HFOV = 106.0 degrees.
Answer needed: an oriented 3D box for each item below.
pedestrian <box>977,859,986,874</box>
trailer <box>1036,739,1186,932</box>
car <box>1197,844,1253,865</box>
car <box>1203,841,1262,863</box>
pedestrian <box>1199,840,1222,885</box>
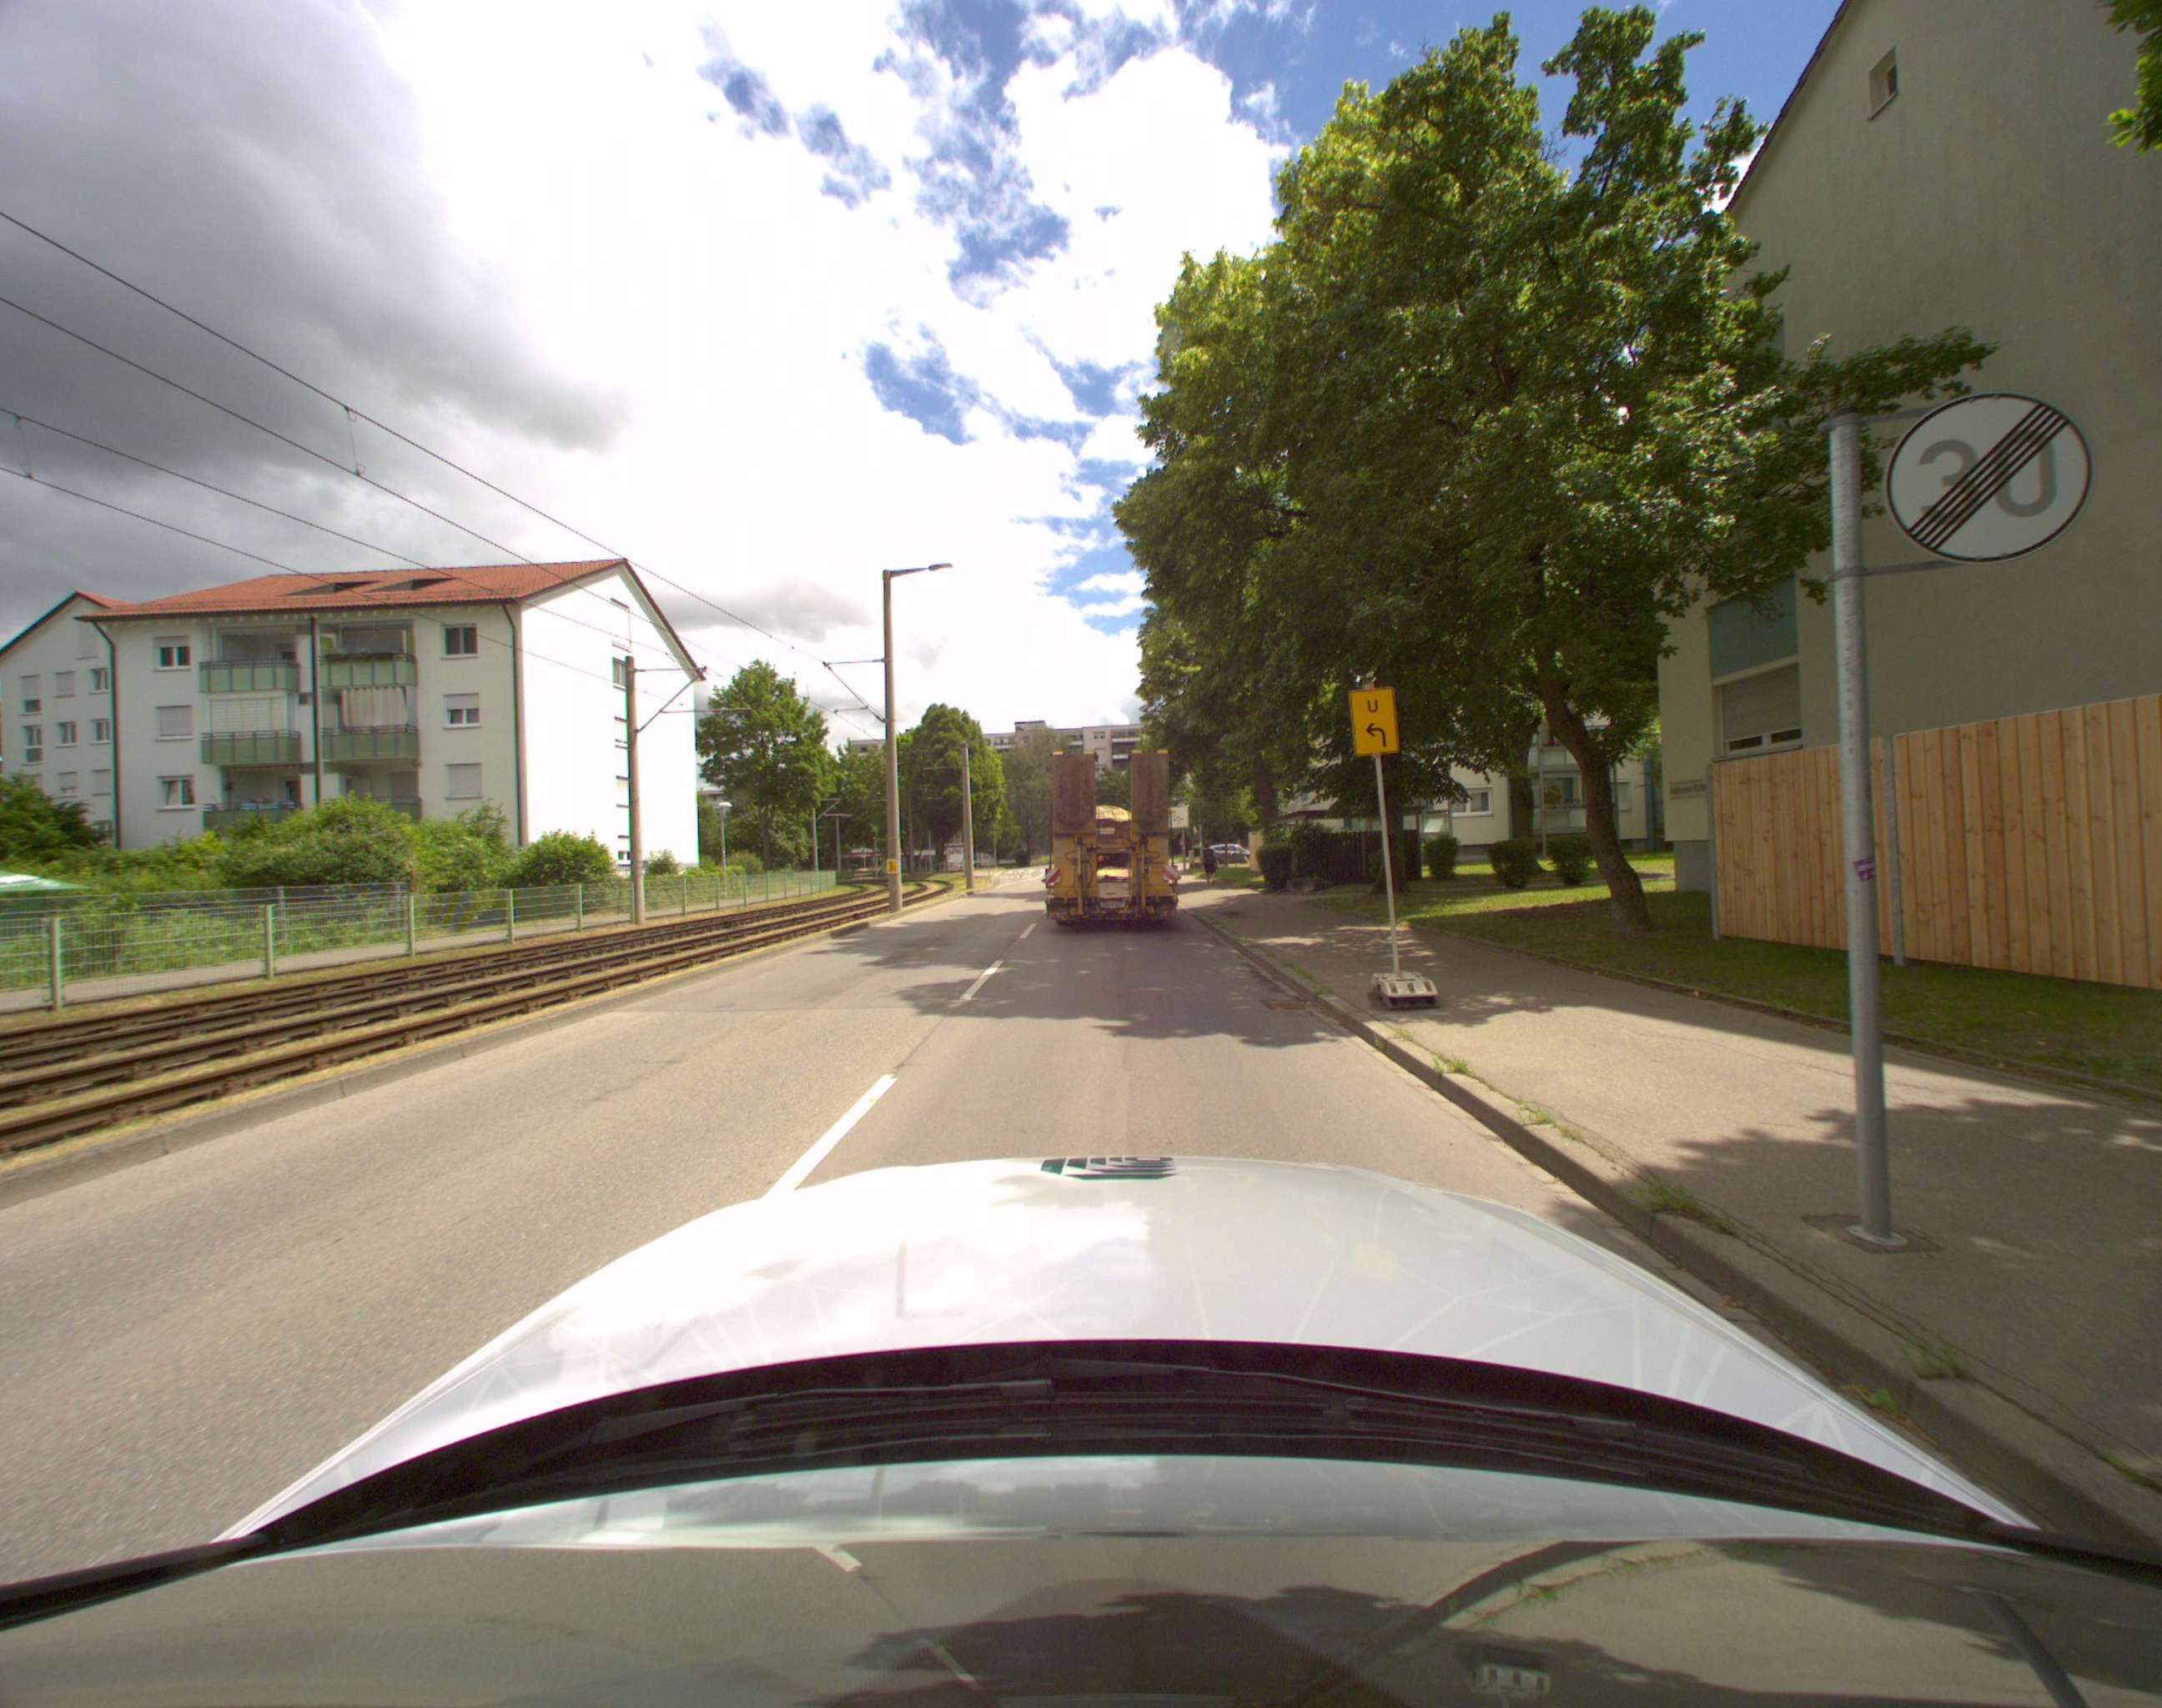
[{"bbox_3d":[-13.858,1.705,113.830,0.913,2.013,0.953,-1,0,-29],"label":"pedestrian"},{"bbox_3d":[0.785,-0.371,21.705,2.816,3.646,12.359,-1,0,2],"label":"trailer"},{"bbox_3d":[11.359,0.037,64.308,3.988,1.561,1.753,-1,0,-11],"label":"car"},{"bbox_3d":[11.332,-0.141,60.848,3.988,1.561,1.753,-1,0,-11],"label":"car"},{"bbox_3d":[5.133,0.325,32.355,0.715,1.706,0.766,-3,0,1],"label":"pedestrian"}]
